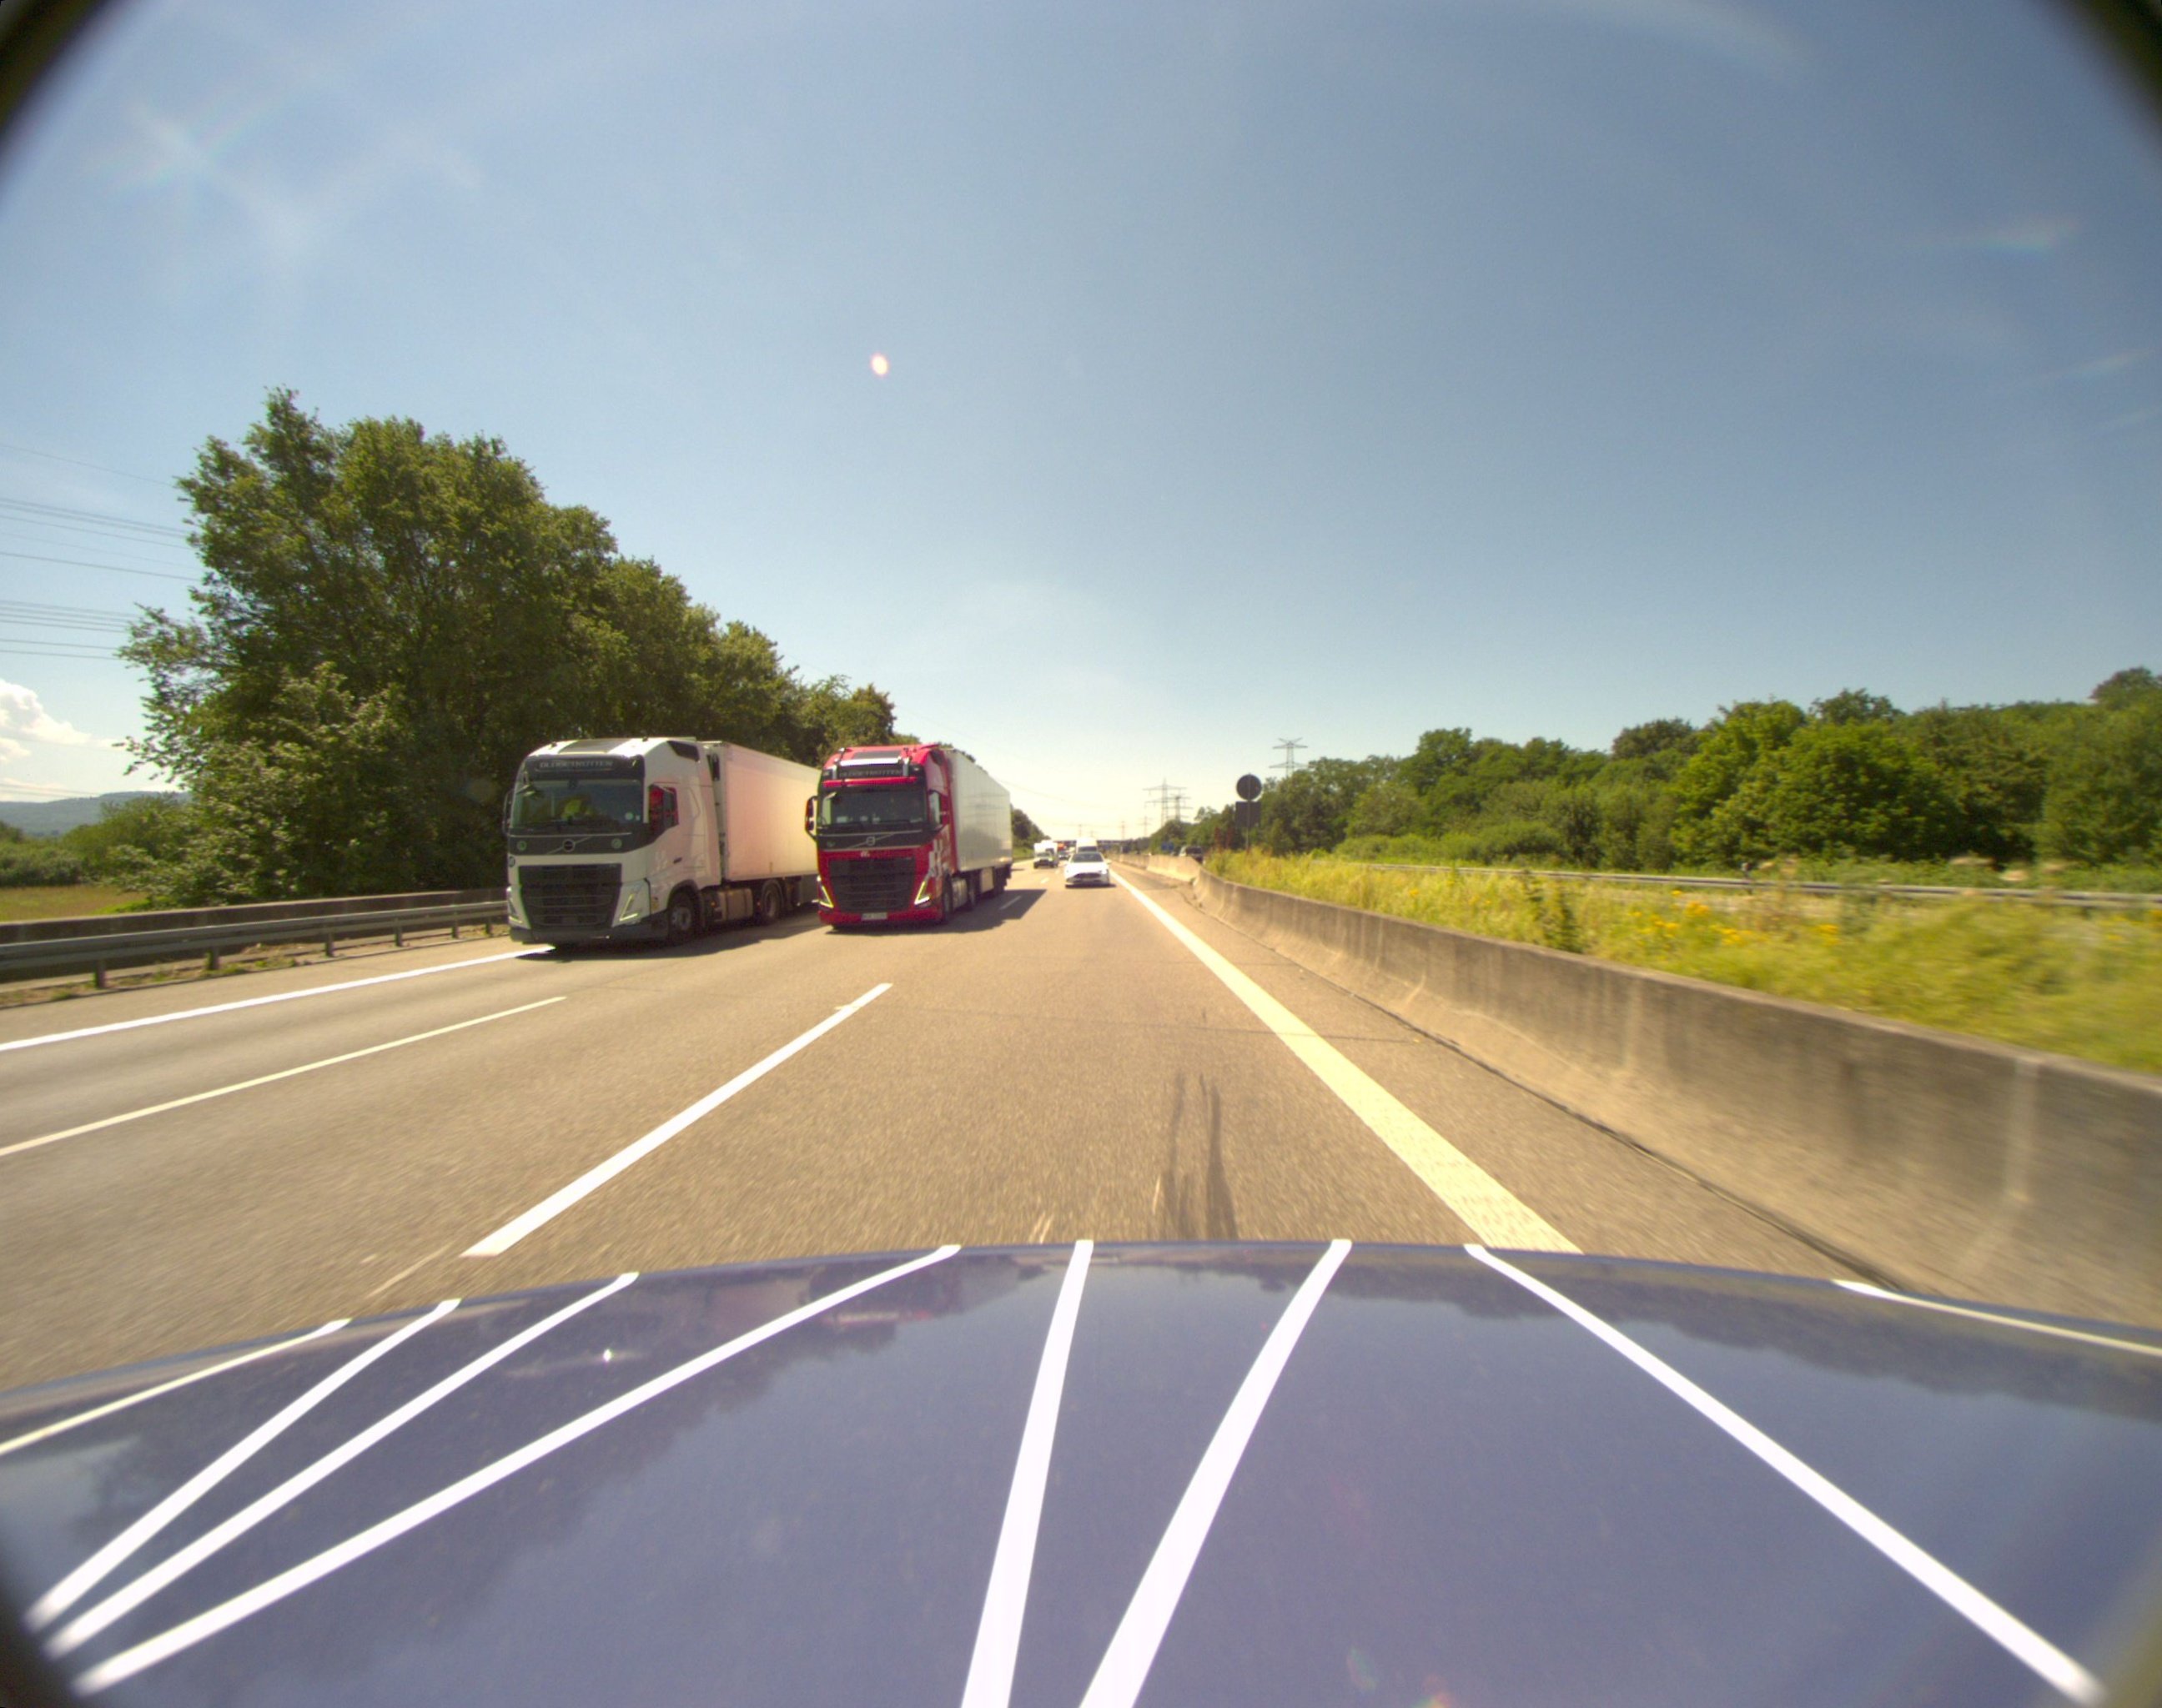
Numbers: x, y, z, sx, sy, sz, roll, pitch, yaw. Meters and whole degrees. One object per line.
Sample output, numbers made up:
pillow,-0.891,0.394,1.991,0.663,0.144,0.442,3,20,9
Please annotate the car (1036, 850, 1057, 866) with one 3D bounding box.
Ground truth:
car,-3.261,0.370,73.176,1.788,1.520,4.104,-1,0,0

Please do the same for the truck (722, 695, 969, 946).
truck,-4.255,-0.558,15.343,2.948,3.963,6.100,-2,1,0

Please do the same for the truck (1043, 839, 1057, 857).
truck,-6.742,-1.386,166.423,2.584,3.704,8.279,-2,1,0

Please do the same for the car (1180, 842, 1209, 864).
car,10.934,-0.090,73.643,1.998,2.002,6.222,1,0,1

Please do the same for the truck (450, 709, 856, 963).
truck,-8.657,-0.331,17.962,3.033,4.069,10.977,-2,1,1

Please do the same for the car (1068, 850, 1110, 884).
car,0.354,0.563,35.390,1.788,1.462,3.999,-2,1,0

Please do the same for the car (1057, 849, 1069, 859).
car,-3.089,-0.033,129.205,1.904,1.662,4.000,-2,0,0

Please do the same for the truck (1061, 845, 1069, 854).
truck,-5.398,-1.537,253.114,2.619,2.801,6.593,0,0,0

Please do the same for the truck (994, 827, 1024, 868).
truck,-7.100,-0.649,76.103,1.987,3.750,10.042,-2,0,0

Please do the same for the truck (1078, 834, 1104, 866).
truck,0.878,-0.366,69.214,2.192,2.841,5.503,0,0,0

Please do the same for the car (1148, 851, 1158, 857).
car,18.720,-0.021,197.732,1.913,1.470,4.824,1,0,0

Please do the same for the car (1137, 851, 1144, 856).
car,18.774,-0.148,240.455,1.998,1.549,4.683,1,0,0

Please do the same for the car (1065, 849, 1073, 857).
car,-2.792,-0.199,178.388,1.998,2.002,4.000,0,0,0

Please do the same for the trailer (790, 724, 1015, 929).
trailer,-4.246,-0.602,23.237,2.945,3.994,16.198,-2,0,0

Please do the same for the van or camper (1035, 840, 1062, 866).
van or camper,-3.328,-0.119,78.460,2.411,2.483,6.431,-1,0,0

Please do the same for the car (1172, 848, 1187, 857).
car,15.219,-0.272,117.811,1.774,1.463,4.000,0,1,1
